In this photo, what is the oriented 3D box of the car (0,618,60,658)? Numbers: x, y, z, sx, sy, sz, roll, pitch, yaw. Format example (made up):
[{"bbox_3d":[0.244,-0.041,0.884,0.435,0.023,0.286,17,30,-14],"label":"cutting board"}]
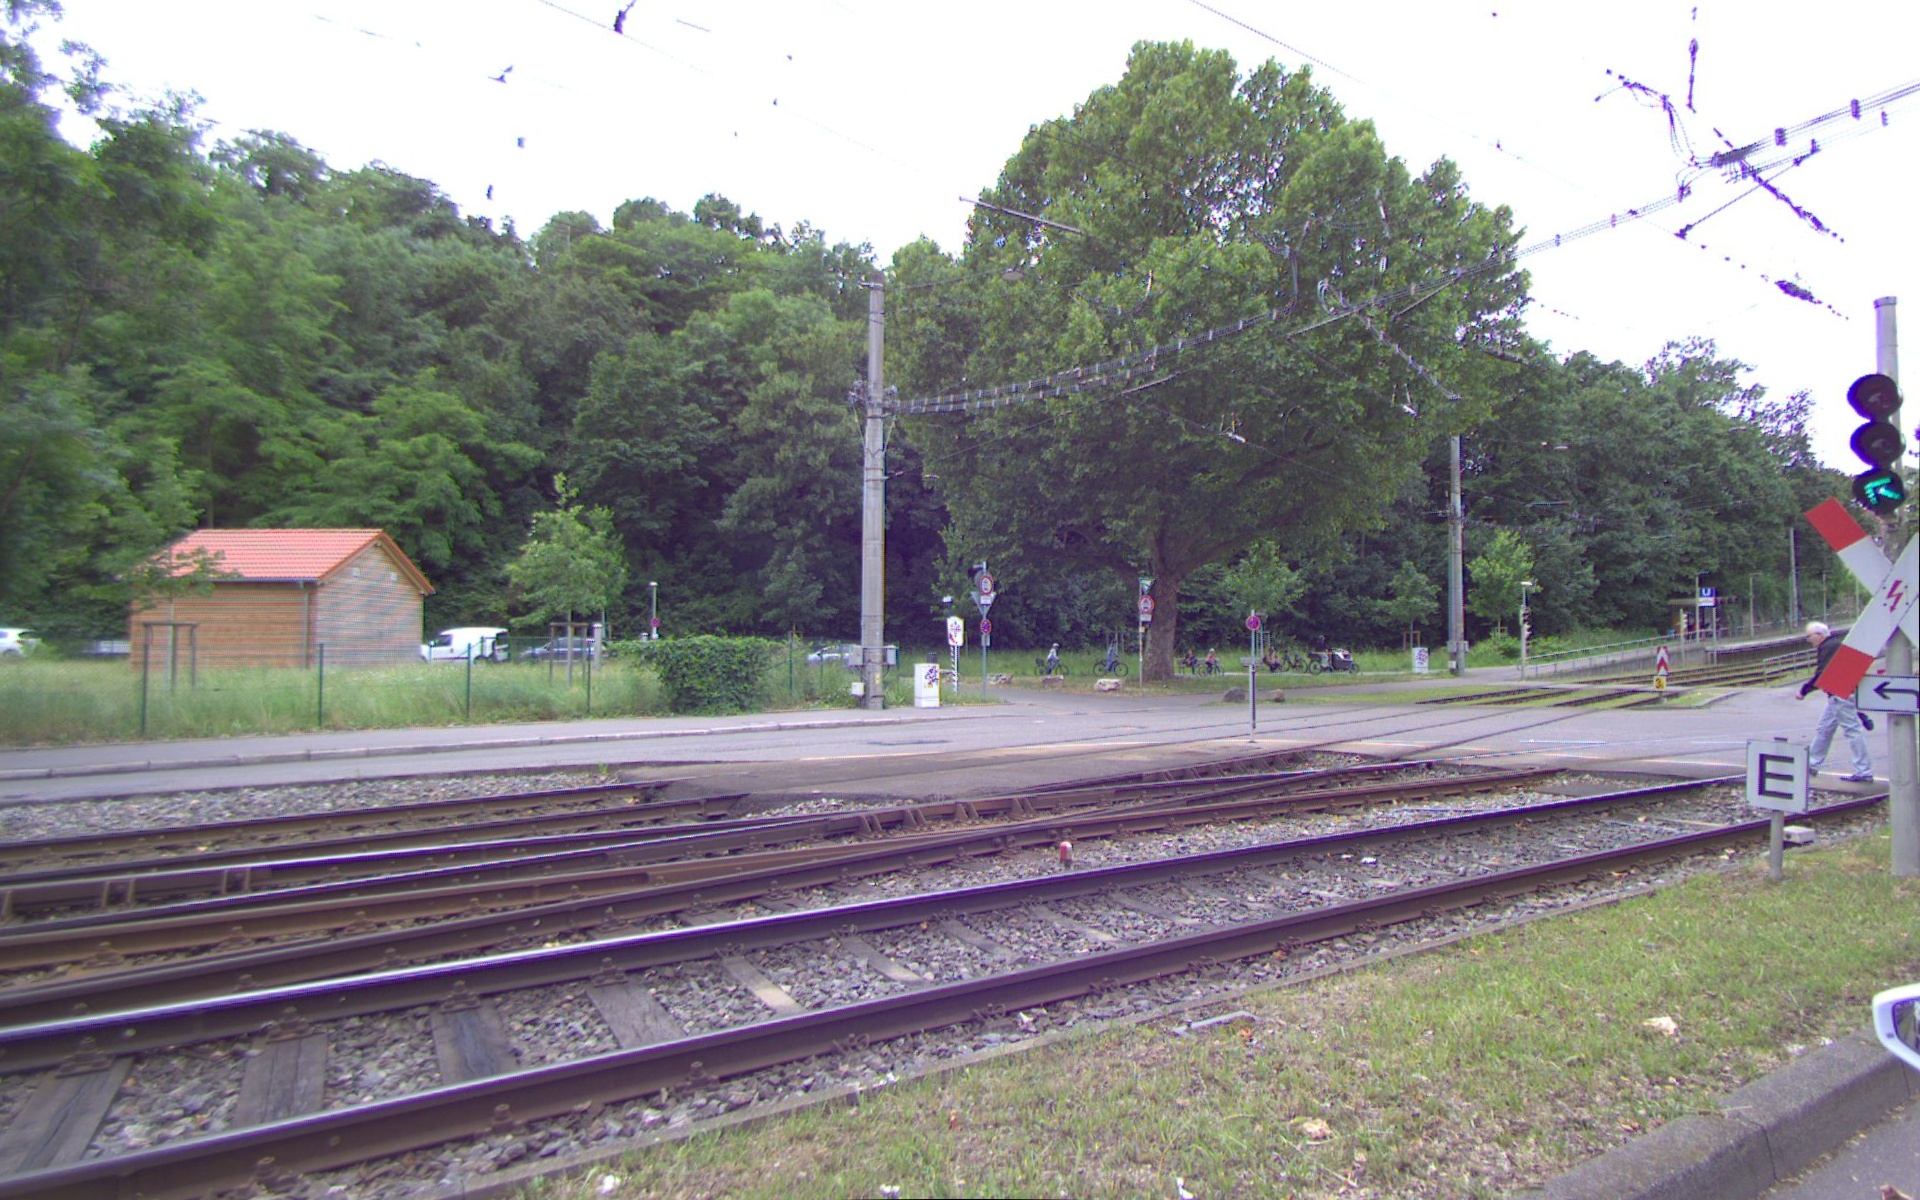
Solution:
[{"bbox_3d":[-42.224,1.631,44.093,3.612,1.634,1.756,2,0,-6],"label":"car"}]

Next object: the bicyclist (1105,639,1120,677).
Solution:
[{"bbox_3d":[7.001,2.677,46.174,0.612,1.697,0.475,0,1,-4],"label":"bicyclist"}]

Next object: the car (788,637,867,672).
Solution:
[{"bbox_3d":[-6.094,2.523,46.562,3.436,1.443,1.700,2,0,-3],"label":"car"}]

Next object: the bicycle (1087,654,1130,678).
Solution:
[{"bbox_3d":[6.838,3.010,46.174,1.907,1.055,0.475,0,1,-4],"label":"bicycle"}]

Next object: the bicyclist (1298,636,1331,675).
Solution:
[{"bbox_3d":[16.495,2.573,46.715,1.268,1.734,0.735,-1,2,-5],"label":"bicyclist"}]

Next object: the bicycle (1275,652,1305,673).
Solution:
[{"bbox_3d":[16.164,3.068,49.226,0.611,0.897,1.743,2,0,-10],"label":"bicycle"}]

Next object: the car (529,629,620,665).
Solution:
[{"bbox_3d":[-17.300,2.113,45.187,3.436,1.443,1.700,2,0,-3],"label":"car"}]

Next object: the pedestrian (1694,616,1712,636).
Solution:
[{"bbox_3d":[49.652,1.746,67.152,0.780,1.344,0.766,2,0,-37],"label":"pedestrian"}]

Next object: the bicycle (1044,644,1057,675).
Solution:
[{"bbox_3d":[4.056,2.661,45.062,0.506,1.348,0.455,0,1,0],"label":"bicycle"}]

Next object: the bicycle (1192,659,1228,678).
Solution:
[{"bbox_3d":[11.436,3.151,46.016,1.531,0.749,0.454,-2,2,-10],"label":"bicycle"}]

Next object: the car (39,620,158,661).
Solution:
[{"bbox_3d":[-38.032,1.782,44.412,3.610,1.634,1.757,2,0,-3],"label":"car"}]

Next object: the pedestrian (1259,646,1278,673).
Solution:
[{"bbox_3d":[14.922,2.856,48.562,0.662,1.251,0.578,2,0,-16],"label":"pedestrian"}]

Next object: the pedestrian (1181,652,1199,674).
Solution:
[{"bbox_3d":[10.972,3.028,47.959,0.610,1.003,0.530,2,0,-15],"label":"pedestrian"}]

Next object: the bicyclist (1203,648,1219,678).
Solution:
[{"bbox_3d":[11.496,2.866,46.018,0.571,1.319,0.454,-2,2,-10],"label":"bicyclist"}]

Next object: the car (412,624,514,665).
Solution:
[{"bbox_3d":[-22.346,1.986,45.247,3.610,1.634,1.909,2,0,-3],"label":"car"}]

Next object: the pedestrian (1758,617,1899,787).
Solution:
[{"bbox_3d":[9.807,1.103,11.354,0.808,1.783,1.106,2,-1,-43],"label":"pedestrian"}]

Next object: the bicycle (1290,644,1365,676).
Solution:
[{"bbox_3d":[17.087,2.781,46.777,3.283,1.307,0.735,-1,2,-6],"label":"bicycle"}]

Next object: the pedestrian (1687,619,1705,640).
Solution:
[{"bbox_3d":[48.765,1.945,66.568,0.780,1.344,0.766,-1,2,-37],"label":"pedestrian"}]

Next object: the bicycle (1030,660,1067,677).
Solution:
[{"bbox_3d":[3.979,3.072,45.070,1.620,0.749,0.455,0,1,0],"label":"bicycle"}]
